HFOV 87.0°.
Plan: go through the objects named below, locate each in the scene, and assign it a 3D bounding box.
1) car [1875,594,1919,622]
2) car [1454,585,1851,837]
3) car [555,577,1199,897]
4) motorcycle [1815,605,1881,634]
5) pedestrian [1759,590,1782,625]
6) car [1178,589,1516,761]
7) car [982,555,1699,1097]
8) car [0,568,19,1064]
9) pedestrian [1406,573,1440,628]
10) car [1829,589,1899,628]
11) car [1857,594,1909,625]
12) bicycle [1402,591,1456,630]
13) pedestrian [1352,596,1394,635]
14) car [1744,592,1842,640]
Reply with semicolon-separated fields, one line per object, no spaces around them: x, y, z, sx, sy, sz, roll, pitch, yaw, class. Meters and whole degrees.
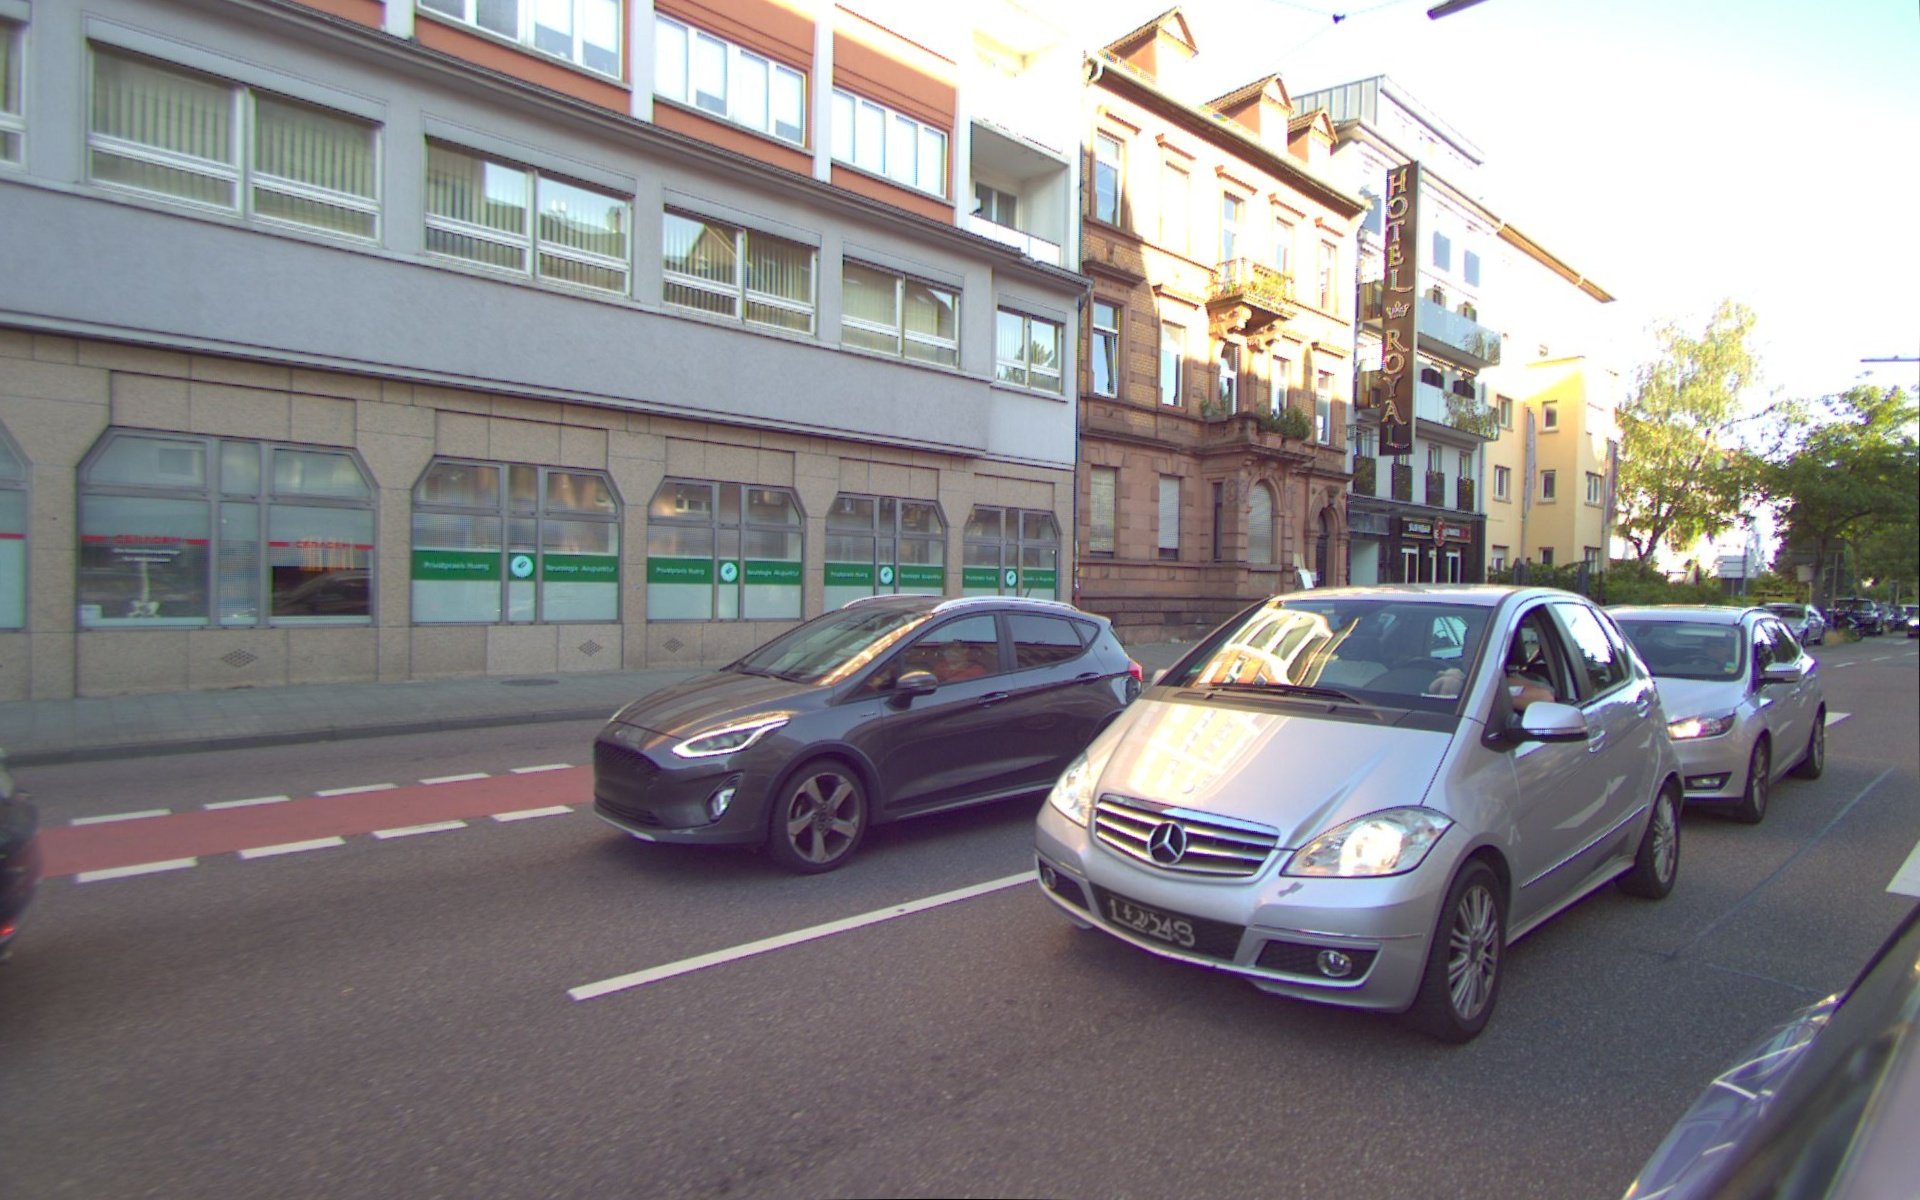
53.098;0.411;57.051;4.407;1.466;1.773;0;2;-42;car
5.762;0.666;8.196;4.235;1.529;1.710;0;0;-42;car
-0.311;0.640;6.781;4.166;1.503;1.653;0;0;-42;car
35.900;0.781;40.934;1.921;1.084;0.809;1;1;37;motorcycle
37.907;0.346;47.322;0.570;1.636;0.747;0;1;-43;pedestrian
4.282;0.654;10.879;4.087;1.475;1.710;0;1;-42;car
2.011;0.636;4.840;3.557;1.588;1.806;0;1;-43;car
-4.688;0.652;2.510;3.420;1.524;1.491;0;1;-43;car
14.360;0.018;31.385;0.681;1.664;0.708;0;1;-42;pedestrian
41.746;0.345;46.706;4.715;1.675;1.950;0;1;-43;car
48.047;0.455;52.668;4.358;1.490;1.718;0;2;-44;car
14.652;0.319;31.632;1.415;1.124;0.483;4;2;32;bicycle
11.337;0.418;27.797;0.927;1.056;0.692;0;1;-39;pedestrian
29.925;0.531;36.297;4.749;1.531;1.860;0;3;-40;car
